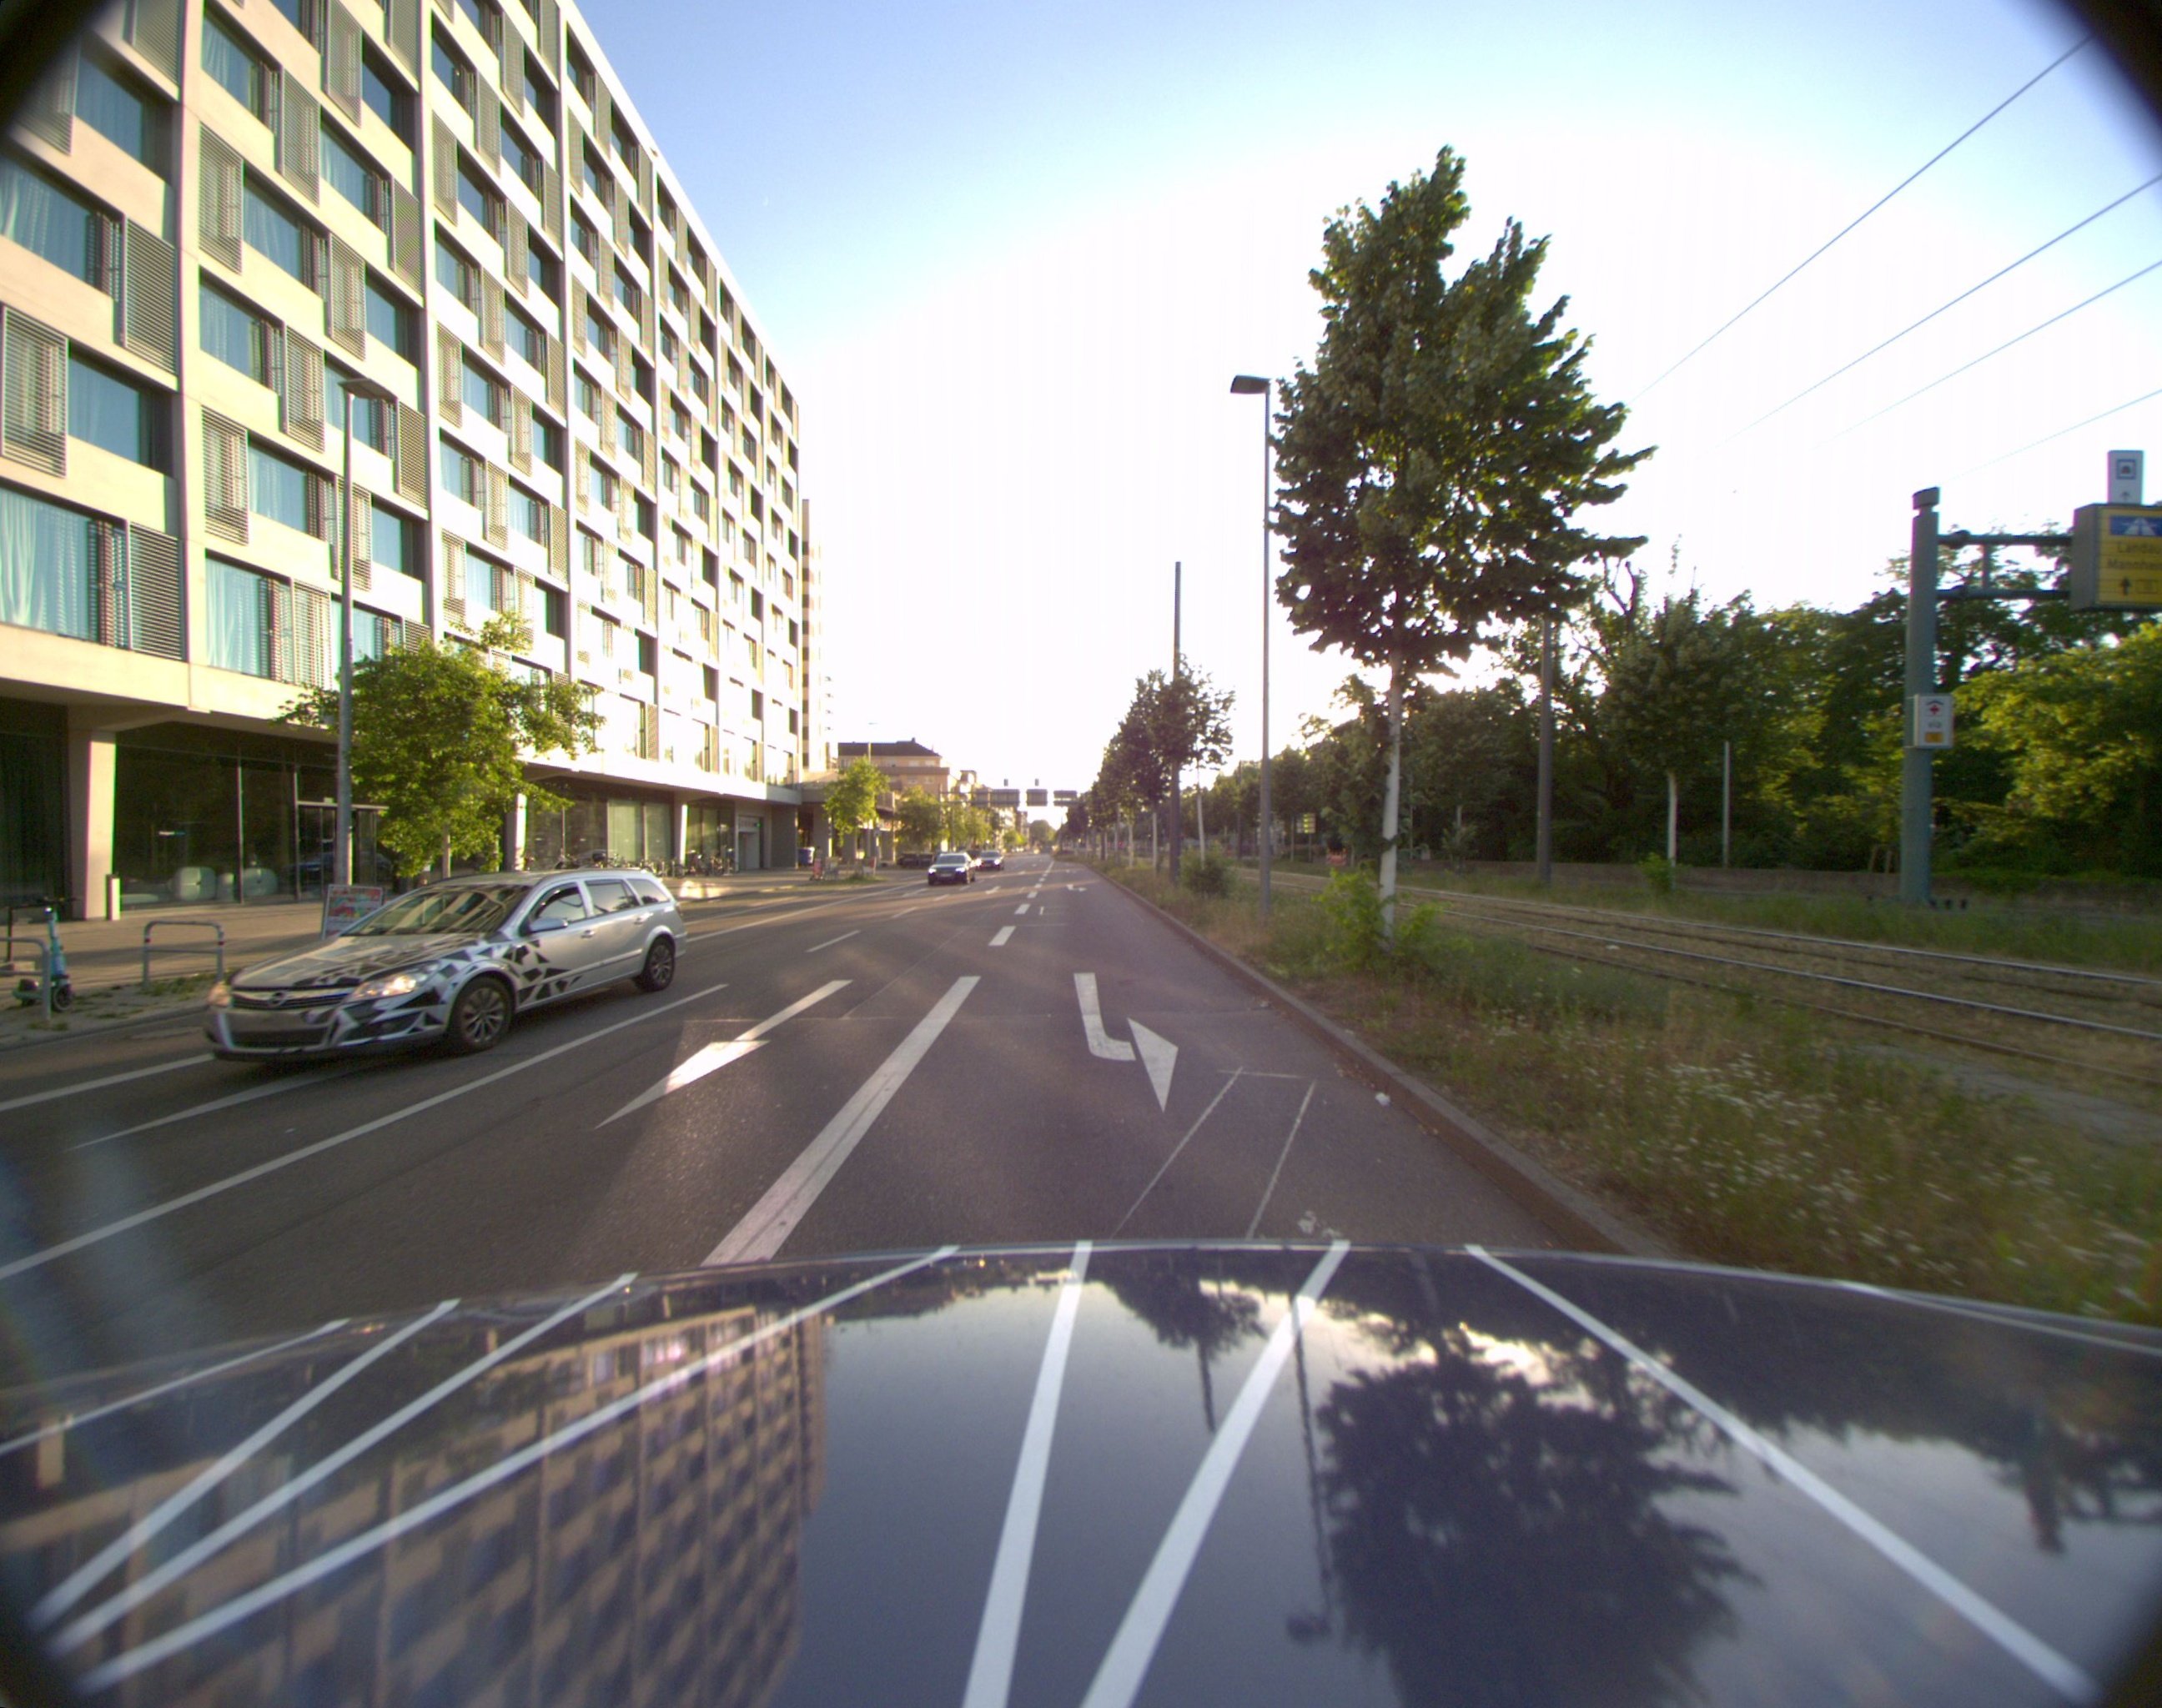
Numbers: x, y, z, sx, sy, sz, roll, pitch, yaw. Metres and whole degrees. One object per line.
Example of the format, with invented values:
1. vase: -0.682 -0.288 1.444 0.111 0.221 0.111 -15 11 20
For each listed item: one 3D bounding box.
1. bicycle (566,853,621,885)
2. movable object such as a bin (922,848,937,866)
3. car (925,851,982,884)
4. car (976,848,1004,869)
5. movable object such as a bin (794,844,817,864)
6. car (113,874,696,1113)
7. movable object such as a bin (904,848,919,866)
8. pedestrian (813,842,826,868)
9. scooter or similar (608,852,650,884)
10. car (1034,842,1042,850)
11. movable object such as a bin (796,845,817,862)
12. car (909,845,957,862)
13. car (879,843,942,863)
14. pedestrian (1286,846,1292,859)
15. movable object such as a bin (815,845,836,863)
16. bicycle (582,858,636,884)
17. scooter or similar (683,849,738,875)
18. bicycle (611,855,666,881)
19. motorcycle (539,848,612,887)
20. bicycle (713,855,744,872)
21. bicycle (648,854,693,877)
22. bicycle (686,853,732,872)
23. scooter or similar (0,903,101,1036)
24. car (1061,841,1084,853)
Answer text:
1. bicycle: -18.348 0.580 28.651 1.613 1.148 0.611 2 1 -14
2. movable object such as a bin: -11.757 0.229 58.983 1.088 1.294 1.360 2 1 -8
3. car: -5.960 0.605 36.061 1.915 1.387 4.276 -2 1 0
4. car: -6.567 0.290 55.260 1.863 1.387 4.274 -2 1 -5
5. movable object such as a bin: -19.435 -0.011 53.618 1.108 1.322 1.282 2 1 -2
6. car: -5.854 1.044 7.509 1.833 1.455 4.302 -2 1 0
7. movable object such as a bin: -13.115 0.213 58.840 1.017 1.339 1.160 2 1 -6
8. pedestrian: -17.042 0.062 49.553 0.578 1.610 0.642 2 1 -5
9. scooter or similar: -17.960 0.546 30.192 1.271 1.226 0.608 2 1 -6
10. car: -11.274 -2.165 199.797 1.727 1.910 4.292 -2 1 -5
11. movable object such as a bin: -20.891 -0.020 57.909 1.185 1.291 1.304 0 1 -3
12. car: -13.656 -0.041 70.141 3.999 1.408 1.746 1 1 -40
13. car: -14.123 -0.060 63.026 4.679 1.500 1.933 1 1 -41
14. pedestrian: 26.058 -0.216 95.352 0.670 1.597 0.678 -2 -3 12
15. movable object such as a bin: -19.525 0.012 58.061 1.185 1.315 1.266 3 1 -3
16. bicycle: -18.356 0.654 29.545 1.704 0.980 0.550 2 1 -5
17. scooter or similar: -18.350 0.392 37.672 2.379 1.176 0.620 1 1 -2
18. bicycle: -18.397 0.573 31.589 1.890 1.004 0.565 2 1 -3
19. motorcycle: -18.445 0.483 27.769 2.120 1.378 0.671 1 0 -16
20. bicycle: -18.890 0.486 40.752 1.425 0.886 0.457 0 1 -2
21. bicycle: -18.533 0.528 34.329 1.704 0.980 0.550 2 1 -5
22. bicycle: -19.202 0.450 39.273 2.022 0.952 0.620 1 1 -8
23. scooter or similar: -11.157 1.191 8.100 1.293 1.211 0.536 3 2 22
24. car: -1.171 -1.008 107.912 1.964 1.696 5.107 -2 1 16
